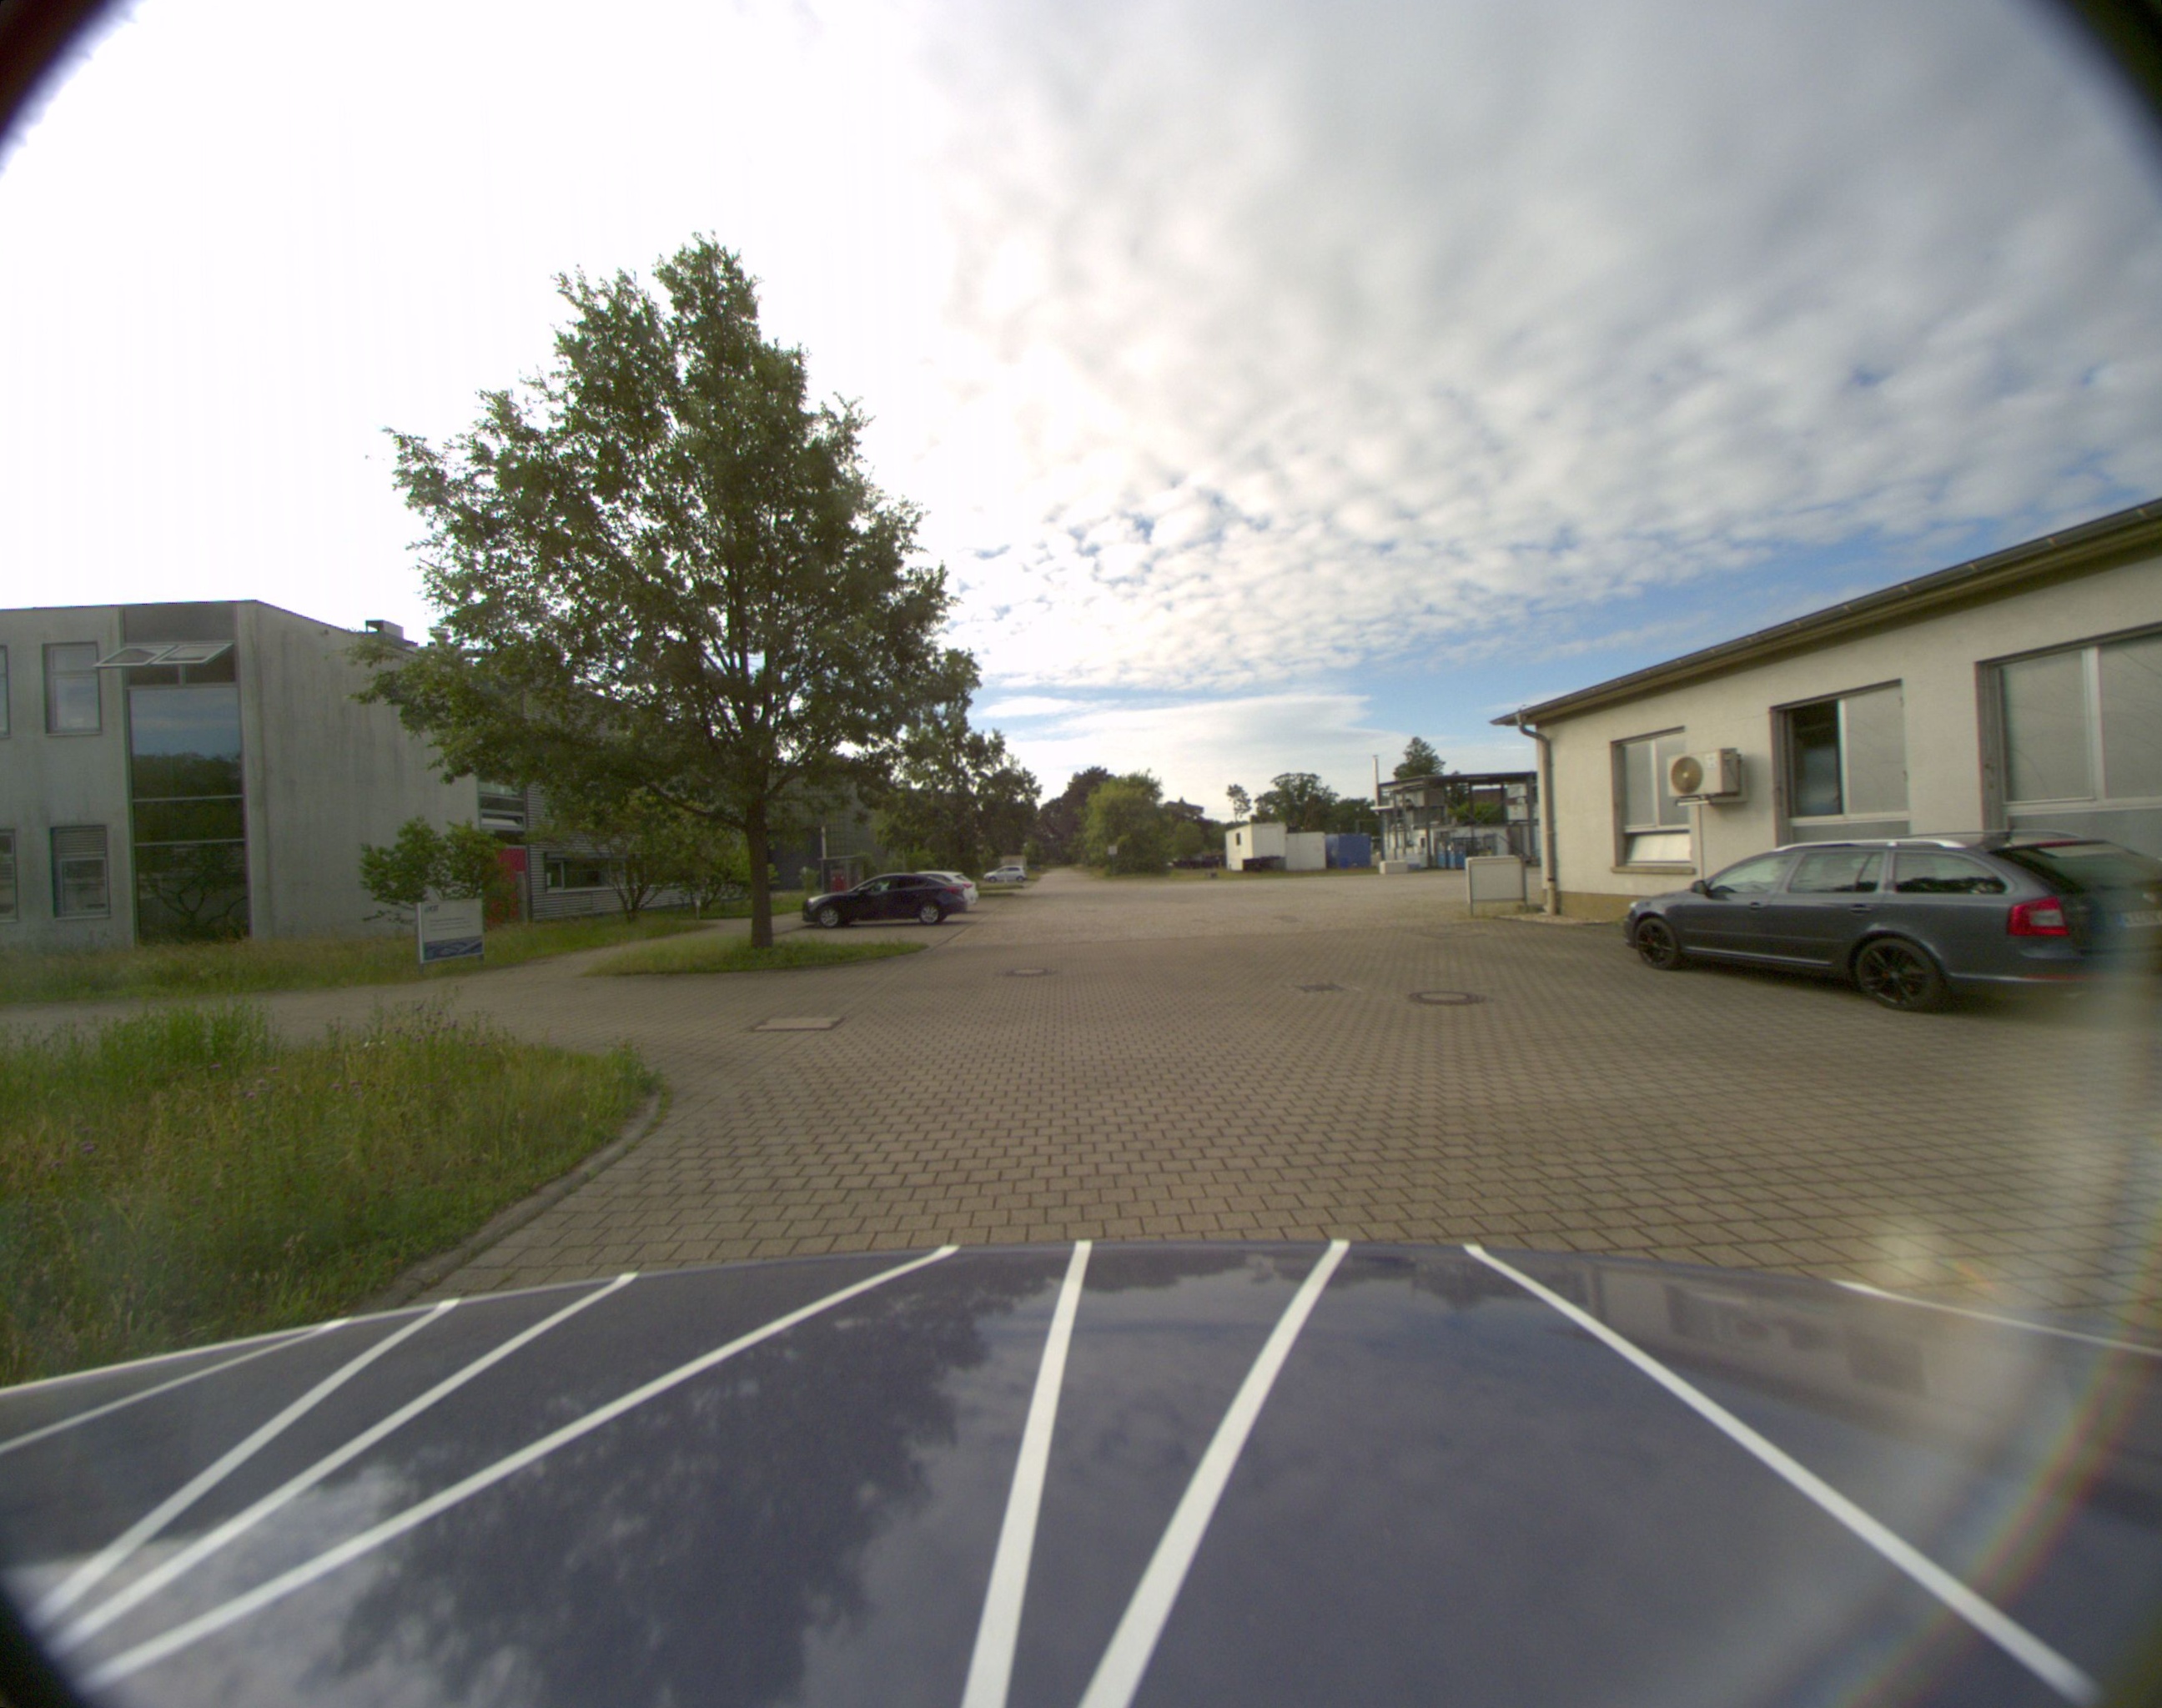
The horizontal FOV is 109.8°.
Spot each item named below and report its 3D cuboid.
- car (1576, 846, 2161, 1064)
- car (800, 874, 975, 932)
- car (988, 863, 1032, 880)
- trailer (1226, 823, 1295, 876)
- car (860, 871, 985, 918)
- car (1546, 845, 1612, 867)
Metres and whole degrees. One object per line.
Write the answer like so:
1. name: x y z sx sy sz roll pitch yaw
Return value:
1. car: 7.640 0.719 7.691 1.930 1.452 4.810 -2 -1 -3
2. car: -5.371 1.348 21.562 4.475 1.438 1.944 -1 0 -2
3. car: -6.794 1.658 72.972 4.133 1.615 1.938 -1 0 -4
4. trailer: 13.876 -0.274 59.766 2.876 3.640 10.778 -2 -1 1
5. car: -5.505 1.384 26.756 3.986 1.457 1.882 -2 0 -2
6. car: 35.330 0.161 54.048 1.933 1.464 3.999 -1 0 -4
